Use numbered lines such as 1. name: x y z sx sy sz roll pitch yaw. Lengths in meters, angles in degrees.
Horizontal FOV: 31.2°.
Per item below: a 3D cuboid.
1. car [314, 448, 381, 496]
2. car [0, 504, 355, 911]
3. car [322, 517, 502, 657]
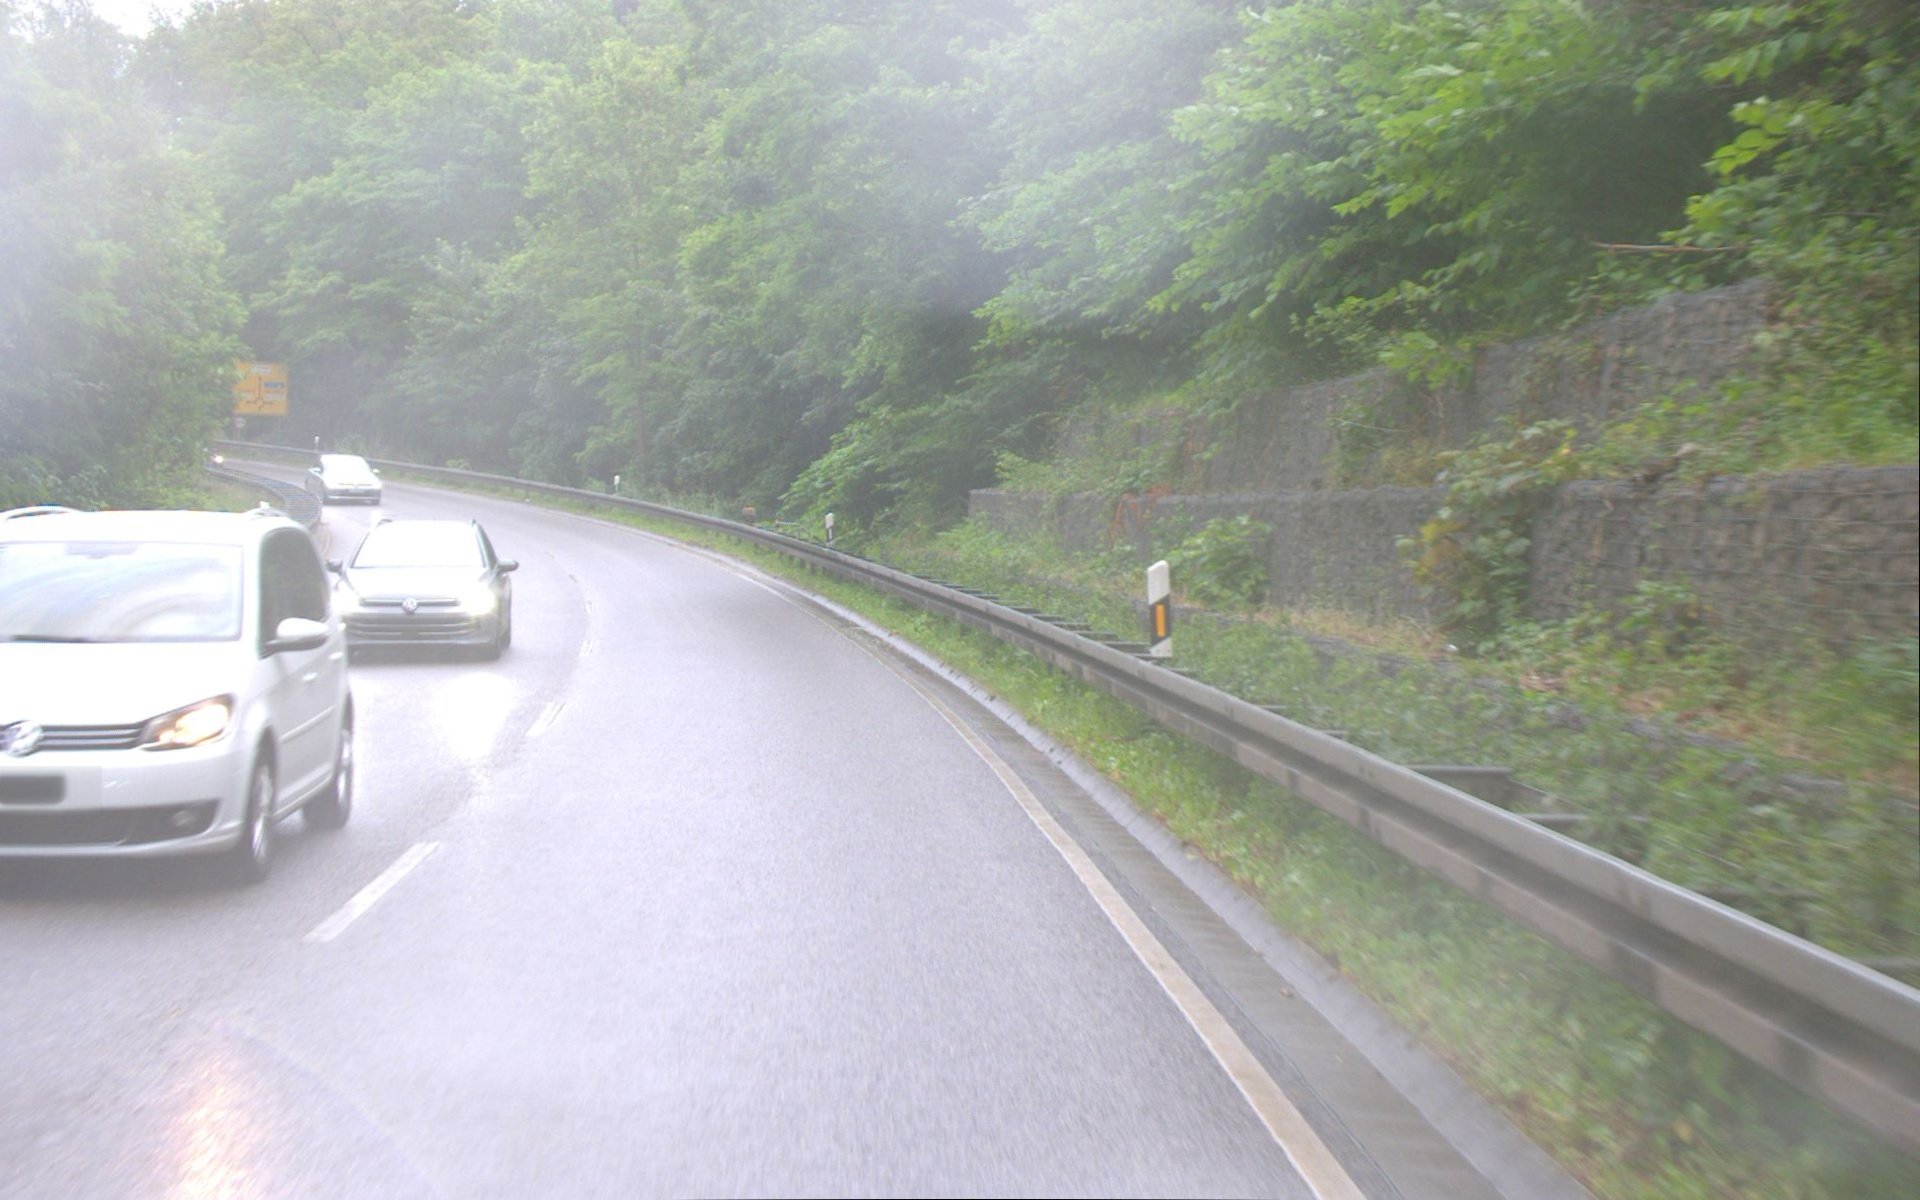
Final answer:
1. car: -18.856 -3.927 105.727 1.594 1.405 3.427 1 1 -18
2. car: -3.978 0.396 15.928 1.814 1.642 4.132 0 1 -3
3. car: -5.906 -0.175 37.148 1.814 1.429 4.001 0 1 -9
